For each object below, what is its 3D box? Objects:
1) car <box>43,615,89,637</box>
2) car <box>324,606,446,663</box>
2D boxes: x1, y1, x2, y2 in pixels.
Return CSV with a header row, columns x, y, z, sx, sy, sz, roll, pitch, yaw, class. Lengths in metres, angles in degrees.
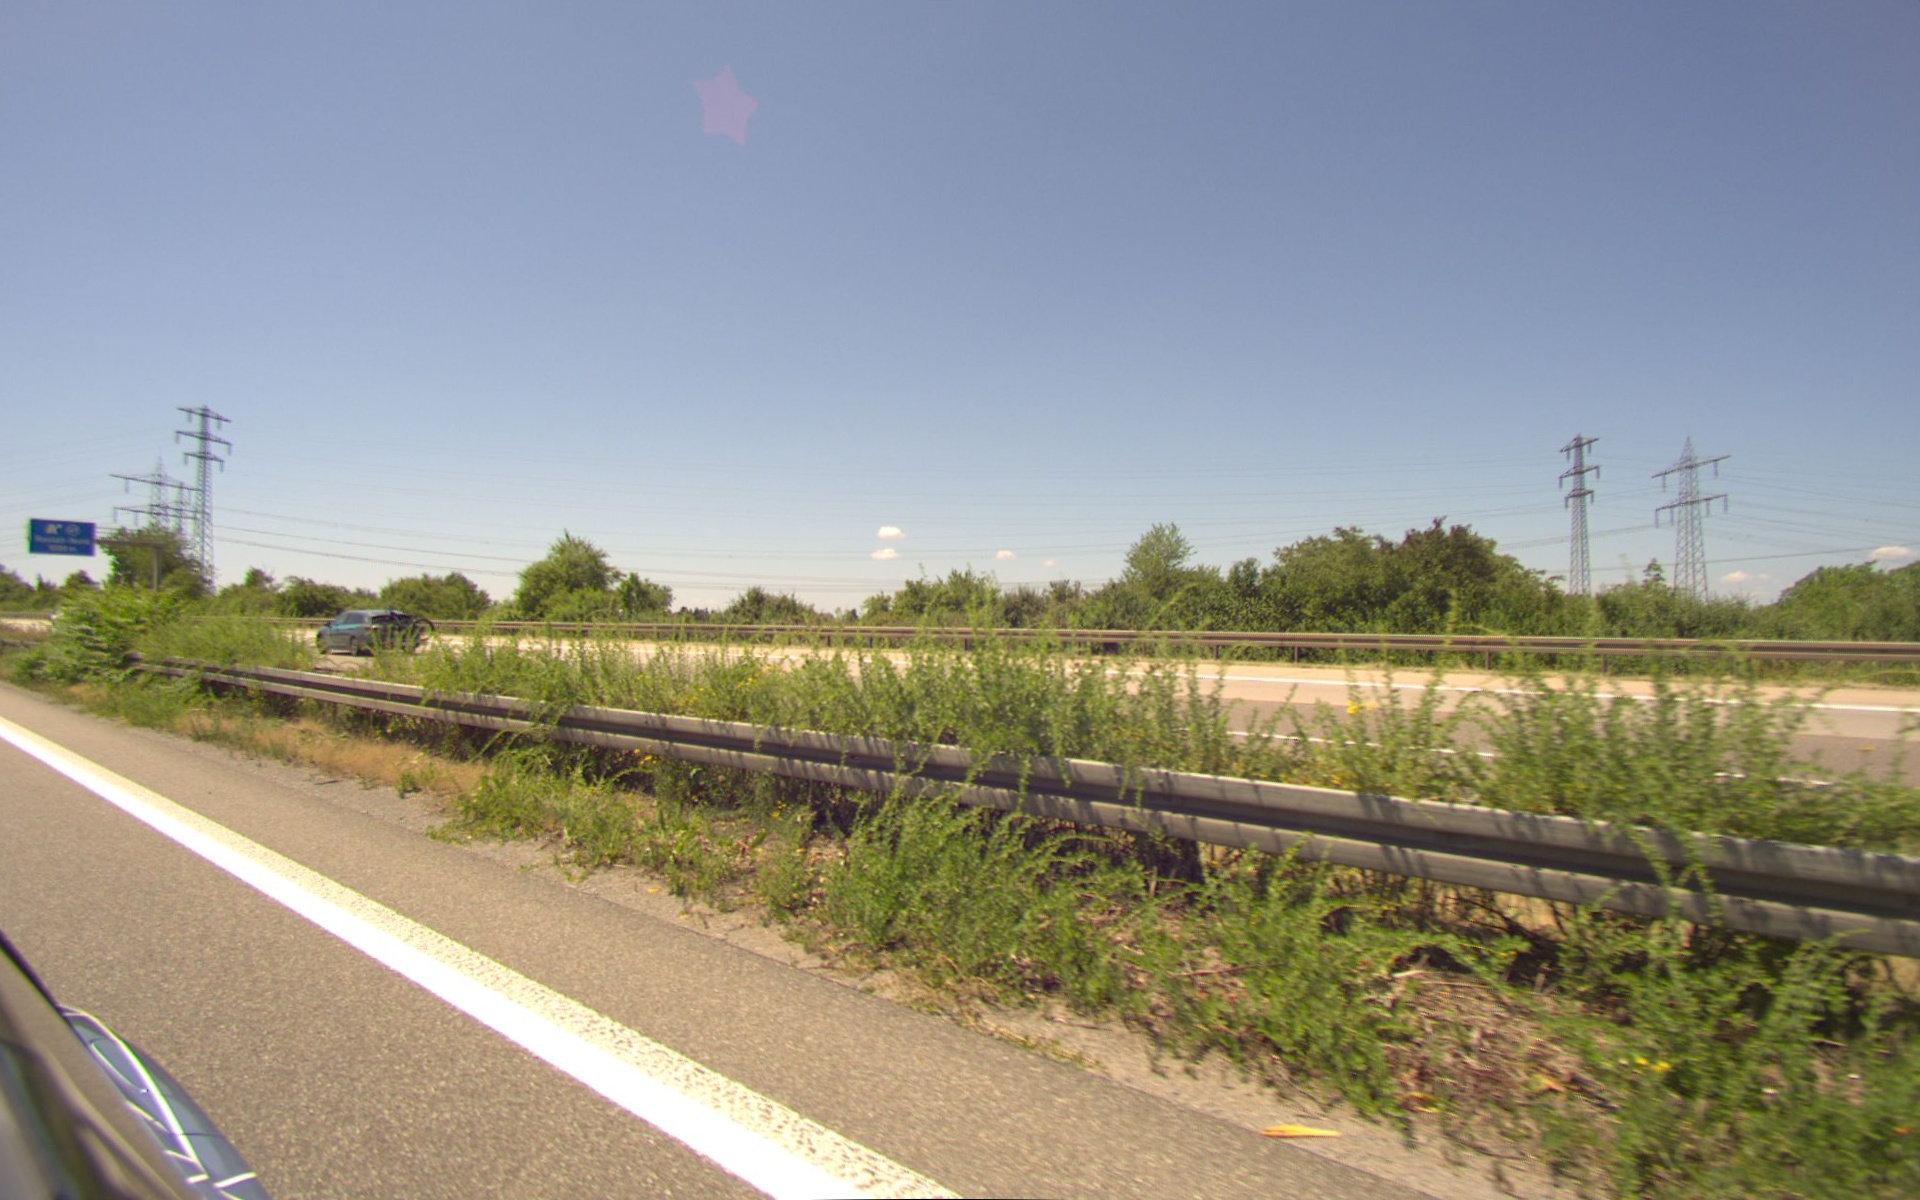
x,y,z,sx,sy,sz,roll,pitch,yaw,class
-67.713,1.939,76.614,4.820,1.552,1.731,-1,1,38,car
-18.543,1.056,32.541,4.499,1.701,1.973,0,0,40,car
